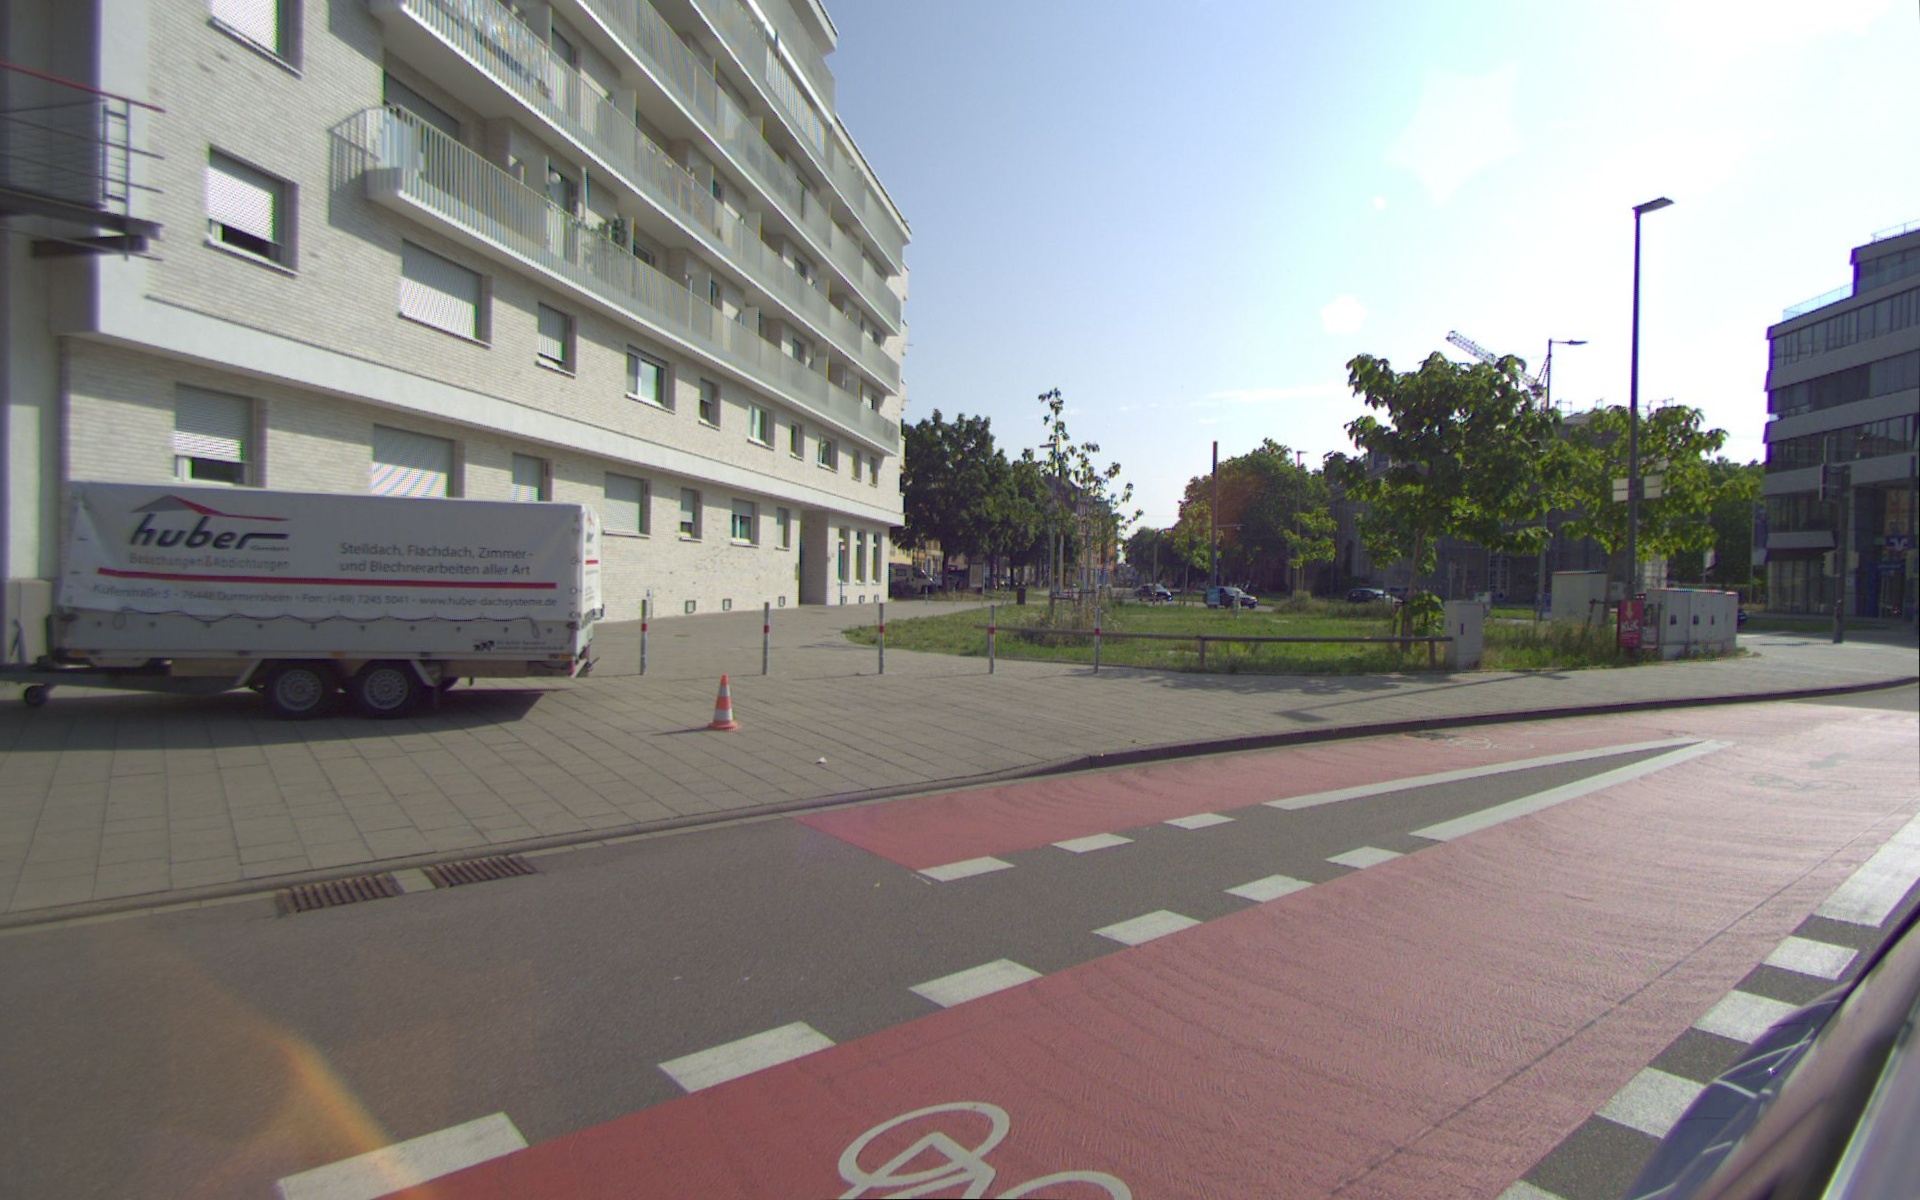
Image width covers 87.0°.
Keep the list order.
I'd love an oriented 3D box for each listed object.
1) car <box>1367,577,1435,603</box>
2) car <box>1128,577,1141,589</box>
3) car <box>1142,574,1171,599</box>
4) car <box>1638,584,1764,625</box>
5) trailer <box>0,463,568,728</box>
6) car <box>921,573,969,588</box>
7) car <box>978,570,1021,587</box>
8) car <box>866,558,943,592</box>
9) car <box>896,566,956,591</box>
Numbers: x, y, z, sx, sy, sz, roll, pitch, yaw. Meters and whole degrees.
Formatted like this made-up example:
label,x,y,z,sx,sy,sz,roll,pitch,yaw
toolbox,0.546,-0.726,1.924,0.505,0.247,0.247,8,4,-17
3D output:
label,x,y,z,sx,sy,sz,roll,pitch,yaw
car,33.402,-0.791,76.864,1.914,1.805,4.827,-1,3,-20
car,31.270,-3.104,181.496,1.966,2.003,3.993,0,2,7
car,16.788,-1.166,86.560,1.964,2.038,3.996,1,1,4
car,33.334,0.157,45.671,1.766,1.699,4.228,1,1,-28
trailer,-7.030,-0.055,9.777,5.824,2.178,2.402,1,1,-16
car,-1.296,-1.705,87.345,3.776,1.265,1.725,0,1,-25
car,4.733,-2.528,120.111,4.827,1.861,1.724,2,1,-30
car,-3.846,-1.730,69.586,4.940,2.205,1.884,1,1,-18
car,-2.433,-1.549,73.050,3.902,1.728,1.884,0,1,-25
